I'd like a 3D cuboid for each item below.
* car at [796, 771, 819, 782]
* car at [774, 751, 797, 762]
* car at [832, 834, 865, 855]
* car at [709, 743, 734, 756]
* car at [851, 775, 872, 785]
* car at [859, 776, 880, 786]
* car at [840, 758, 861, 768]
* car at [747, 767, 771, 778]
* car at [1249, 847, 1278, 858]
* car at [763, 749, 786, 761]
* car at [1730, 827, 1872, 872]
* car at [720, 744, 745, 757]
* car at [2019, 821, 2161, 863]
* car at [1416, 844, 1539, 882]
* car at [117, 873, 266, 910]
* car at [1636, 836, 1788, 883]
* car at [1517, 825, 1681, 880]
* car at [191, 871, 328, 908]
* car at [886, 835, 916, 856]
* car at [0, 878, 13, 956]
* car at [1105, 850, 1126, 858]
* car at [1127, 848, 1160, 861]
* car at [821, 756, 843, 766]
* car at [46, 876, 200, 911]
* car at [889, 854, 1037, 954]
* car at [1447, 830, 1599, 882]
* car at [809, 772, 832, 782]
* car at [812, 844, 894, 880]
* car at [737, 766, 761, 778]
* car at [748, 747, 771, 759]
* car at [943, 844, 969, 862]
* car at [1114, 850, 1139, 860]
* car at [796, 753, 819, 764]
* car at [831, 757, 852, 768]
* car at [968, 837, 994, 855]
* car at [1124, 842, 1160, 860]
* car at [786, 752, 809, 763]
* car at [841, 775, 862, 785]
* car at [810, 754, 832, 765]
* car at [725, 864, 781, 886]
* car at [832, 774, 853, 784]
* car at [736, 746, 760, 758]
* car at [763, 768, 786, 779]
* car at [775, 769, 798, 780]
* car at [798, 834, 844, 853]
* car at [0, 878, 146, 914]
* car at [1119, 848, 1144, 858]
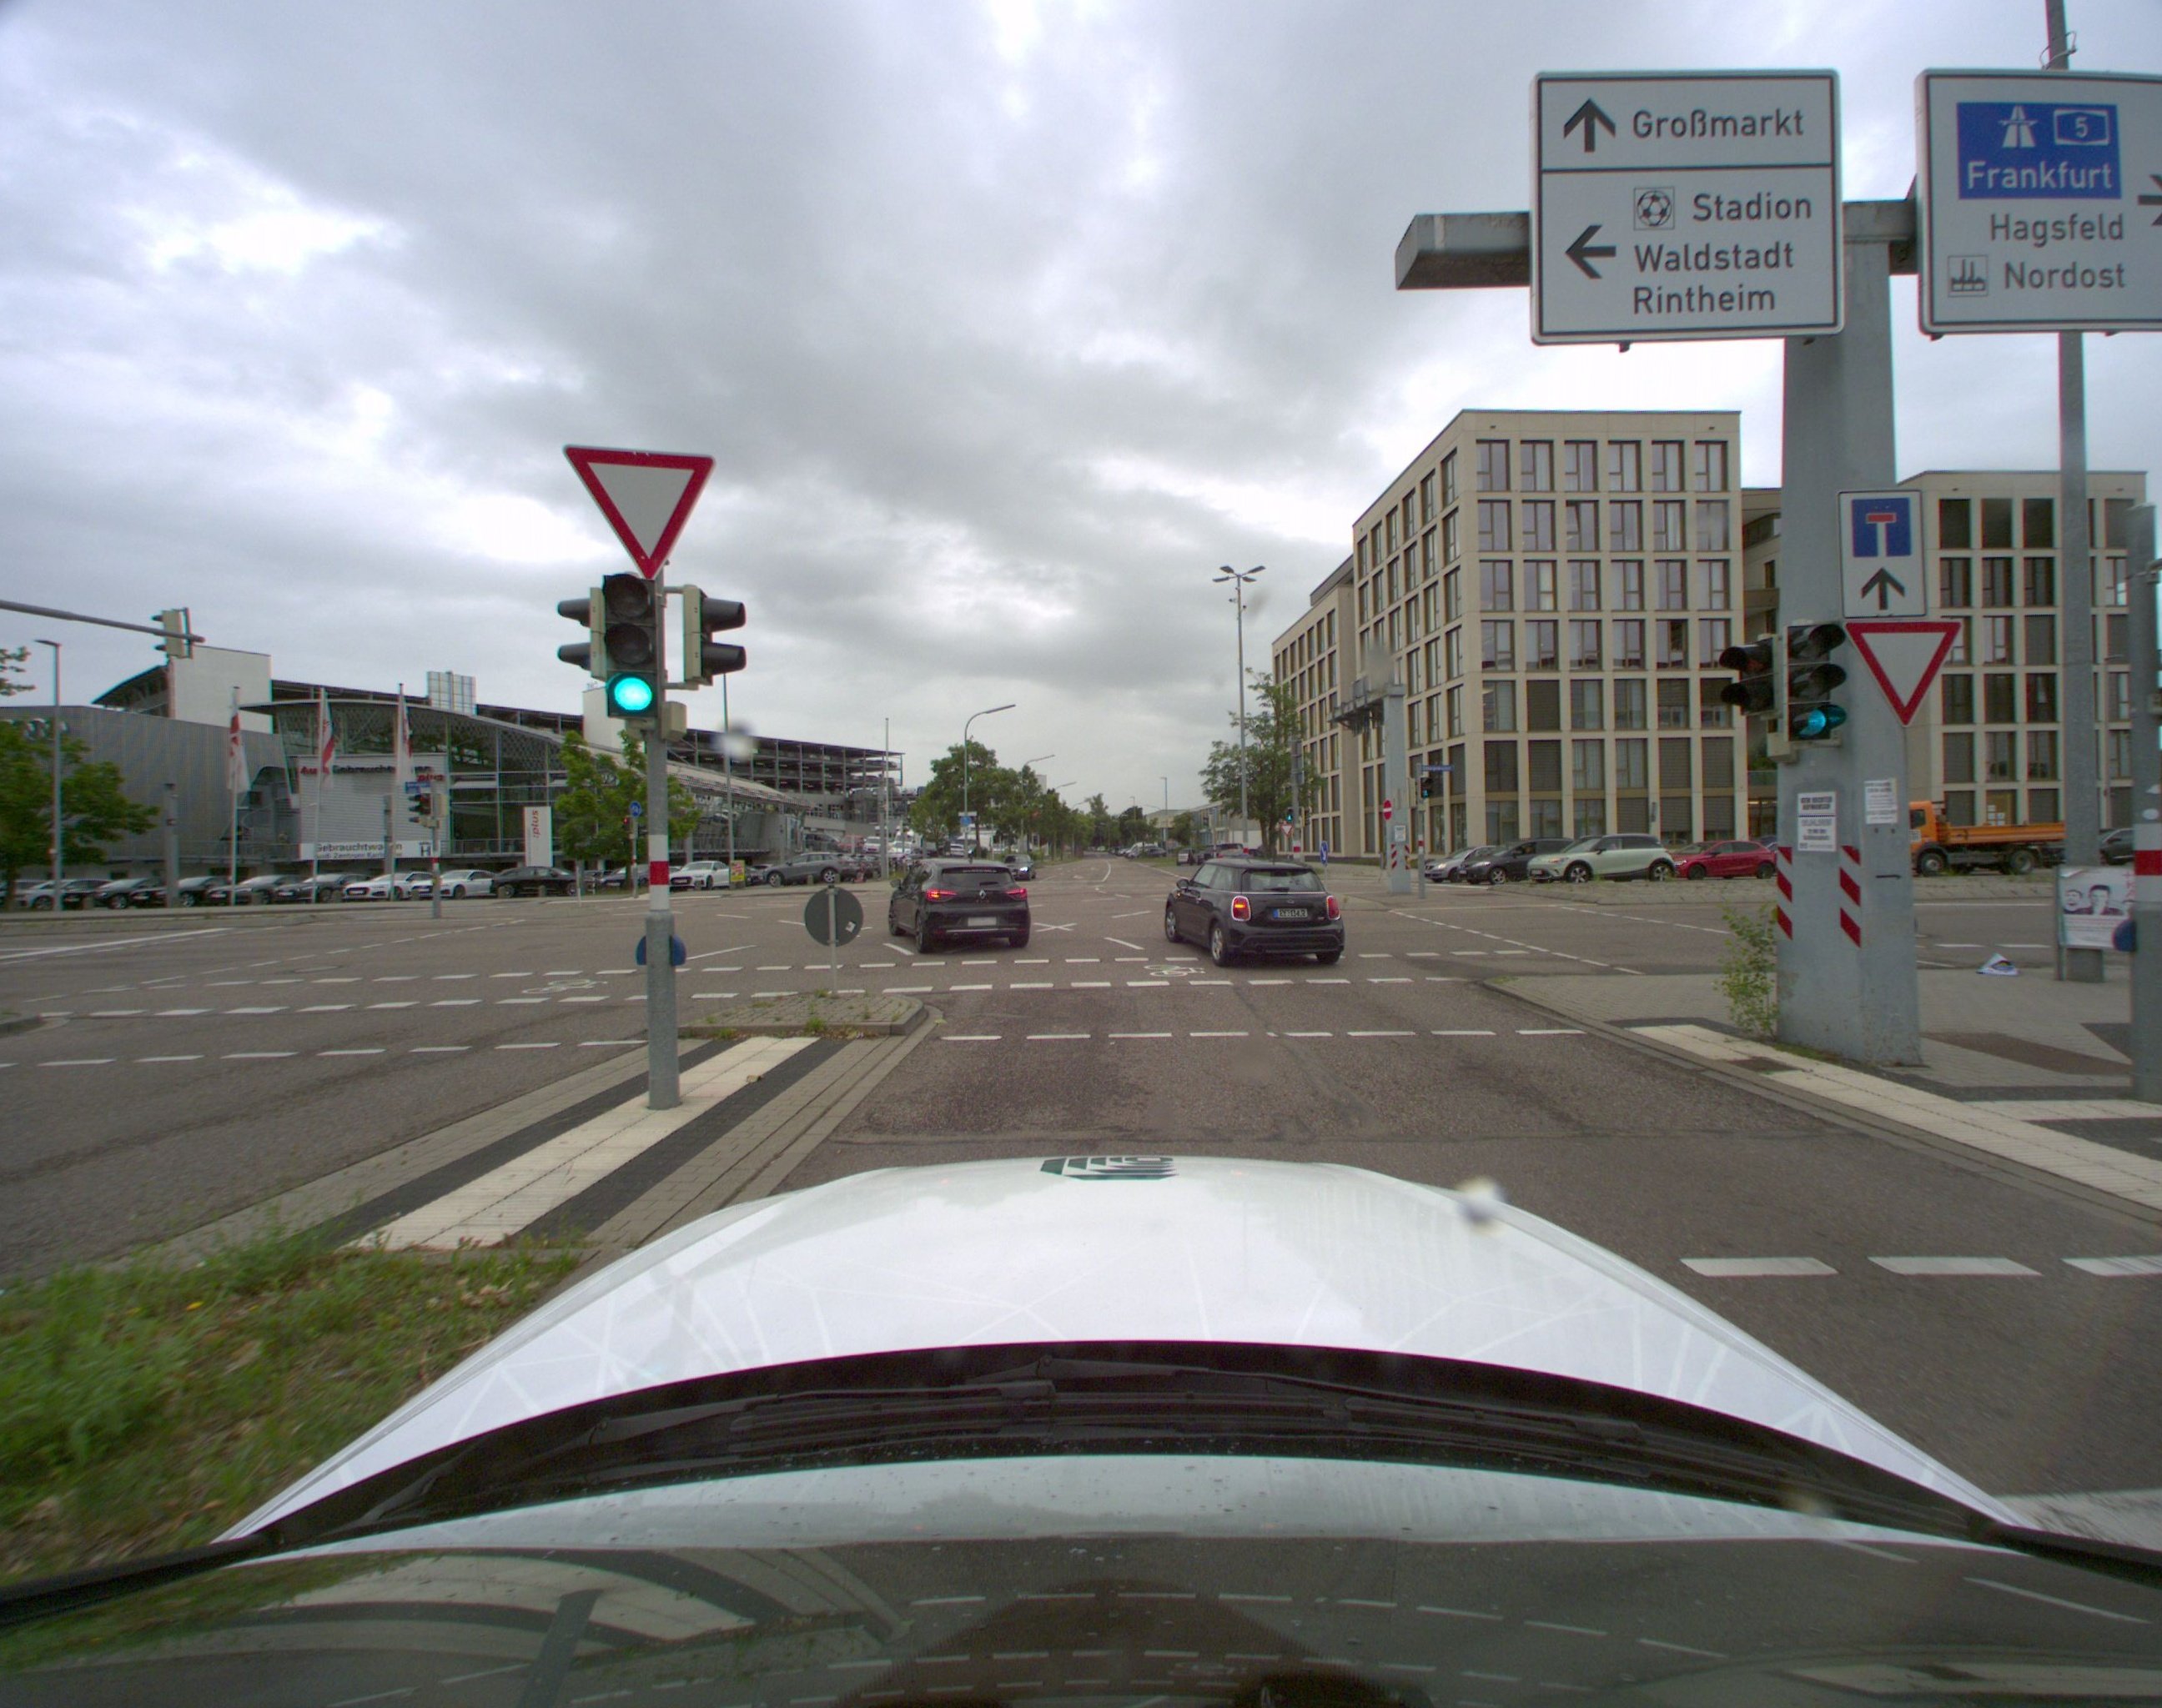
[{"bbox_3d":[-51.893,-14.748,154.453,3.948,1.667,2.013,0,0,33],"label":"car"},{"bbox_3d":[-54.640,-17.992,150.453,3.948,1.667,2.013,0,0,33],"label":"car"},{"bbox_3d":[-21.356,-0.847,74.922,1.989,1.849,3.996,0,-1,-2],"label":"car"},{"bbox_3d":[-61.596,-17.874,139.561,3.948,1.667,2.013,0,0,33],"label":"car"},{"bbox_3d":[-44.851,-15.045,166.193,3.948,1.667,2.013,0,0,33],"label":"car"},{"bbox_3d":[-43.700,-15.098,168.138,3.948,1.667,2.013,0,0,33],"label":"car"},{"bbox_3d":[-46.482,-18.274,164.059,3.948,1.667,2.013,0,0,33],"label":"car"},{"bbox_3d":[-57.747,-14.606,146.112,3.948,1.667,2.013,0,0,33],"label":"car"},{"bbox_3d":[22.802,-0.173,101.924,3.238,1.332,1.477,0,-1,-18],"label":"car"},{"bbox_3d":[-55.845,-18.020,148.454,3.948,1.667,2.013,0,0,33],"label":"car"},{"bbox_3d":[29.110,-0.160,32.999,4.127,1.769,1.998,0,-1,-3],"label":"car"},{"bbox_3d":[-60.576,-17.996,141.600,3.948,1.667,2.013,0,0,33],"label":"car"},{"bbox_3d":[41.724,-0.487,33.416,4.090,1.657,2.001,0,-1,2],"label":"car"},{"bbox_3d":[15.619,0.361,32.179,4.075,1.432,1.749,0,-1,-3],"label":"car"},{"bbox_3d":[-39.201,1.658,36.084,1.884,1.471,4.374,-1,-3,-3],"label":"car"},{"bbox_3d":[22.568,0.215,29.220,3.977,1.601,1.998,0,-1,-3],"label":"car"},{"bbox_3d":[16.229,-0.027,25.615,4.048,1.643,1.902,0,-1,-5],"label":"car"},{"bbox_3d":[-36.344,1.577,36.218,1.898,1.486,4.185,-1,-3,-3],"label":"car"},{"bbox_3d":[-16.455,-0.793,74.754,1.989,1.823,3.996,0,-1,-2],"label":"car"},{"bbox_3d":[-22.796,1.333,14.847,4.055,1.487,1.739,-3,2,-2],"label":"car"},{"bbox_3d":[8.713,0.018,206.350,5.157,2.014,2.143,0,-1,0],"label":"car"},{"bbox_3d":[9.405,0.140,123.254,4.772,1.891,2.142,0,-1,-2],"label":"car"},{"bbox_3d":[-48.828,-18.213,159.481,3.948,1.667,2.013,0,0,33],"label":"car"},{"bbox_3d":[-41.940,1.744,35.833,1.892,1.391,4.163,-1,-3,-3],"label":"car"},{"bbox_3d":[-2.154,0.751,13.920,1.763,1.434,3.973,1,-1,-20],"label":"car"},{"bbox_3d":[15.601,0.080,28.897,4.397,1.769,1.998,0,-1,-3],"label":"car"},{"bbox_3d":[-50.216,-14.844,157.004,3.948,1.667,2.013,0,0,33],"label":"car"},{"bbox_3d":[-14.750,0.532,52.931,4.766,2.013,1.996,-3,-1,-6],"label":"car"},{"bbox_3d":[-58.691,-14.499,144.039,3.948,1.667,2.013,0,0,33],"label":"car"},{"bbox_3d":[-57.592,-18.036,145.831,3.948,1.667,2.013,0,0,33],"label":"car"},{"bbox_3d":[-11.491,-0.097,75.032,1.989,1.618,3.996,0,-1,-2],"label":"car"},{"bbox_3d":[9.593,0.176,173.203,5.157,2.014,2.143,0,-1,0],"label":"car"},{"bbox_3d":[-51.868,-18.109,154.549,3.948,1.667,2.013,0,0,33],"label":"car"},{"bbox_3d":[-47.683,-18.220,162.093,3.948,1.667,2.013,0,0,33],"label":"car"},{"bbox_3d":[-9.283,-0.706,75.688,1.987,1.618,3.998,0,-1,-1],"label":"car"},{"bbox_3d":[10.665,-0.527,142.603,6.097,3.116,2.133,0,-1,-1],"label":"car"},{"bbox_3d":[-53.197,-18.144,152.740,3.948,1.667,2.013,0,0,33],"label":"car"},{"bbox_3d":[-46.183,-14.942,163.683,3.948,1.667,2.013,0,0,33],"label":"car"},{"bbox_3d":[-50.246,-18.164,157.194,3.948,1.667,2.013,0,0,33],"label":"car"},{"bbox_3d":[-27.565,1.775,68.606,3.980,1.838,1.757,0,-1,-5],"label":"car"},{"bbox_3d":[-47.365,-14.887,161.733,3.948,1.667,2.013,0,0,33],"label":"car"},{"bbox_3d":[-58.915,-18.063,143.978,3.948,1.667,2.013,0,0,33],"label":"car"},{"bbox_3d":[-55.860,-14.690,148.322,3.948,1.667,2.013,0,0,33],"label":"car"},{"bbox_3d":[-54.470,-14.725,150.432,3.948,1.667,2.013,0,0,33],"label":"car"},{"bbox_3d":[-26.014,-1.069,81.557,3.976,1.838,1.758,0,-1,-2],"label":"car"},{"bbox_3d":[-44.616,1.814,35.740,1.837,1.472,4.658,-1,-2,-3],"label":"car"},{"bbox_3d":[10.319,-0.198,166.609,4.772,1.891,2.142,0,-1,-2],"label":"car"}]
